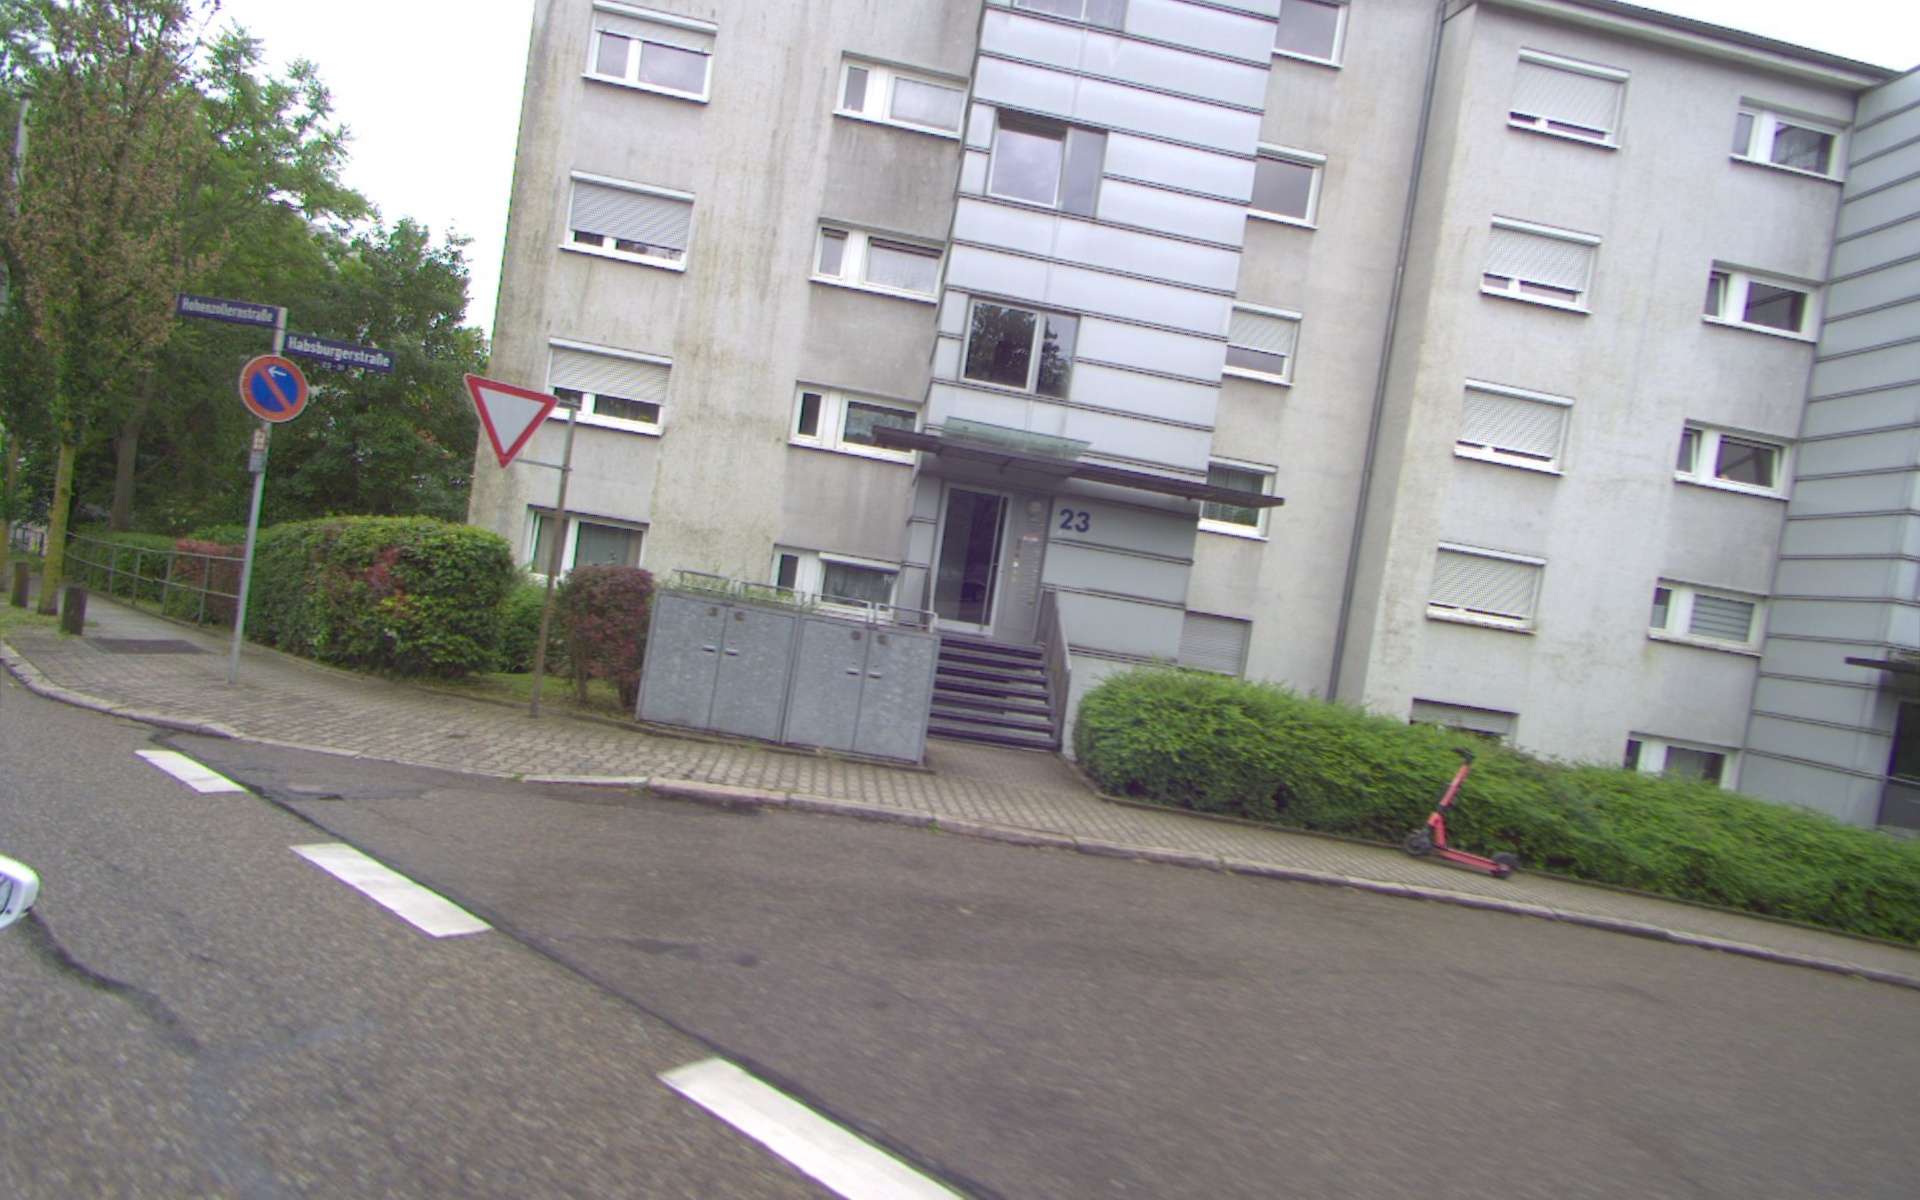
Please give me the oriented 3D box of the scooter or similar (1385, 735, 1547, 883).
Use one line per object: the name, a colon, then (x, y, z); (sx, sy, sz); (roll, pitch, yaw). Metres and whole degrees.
scooter or similar: (5.195, 2.138, 10.372); (1.183, 1.199, 0.497); (12, 3, 0)
